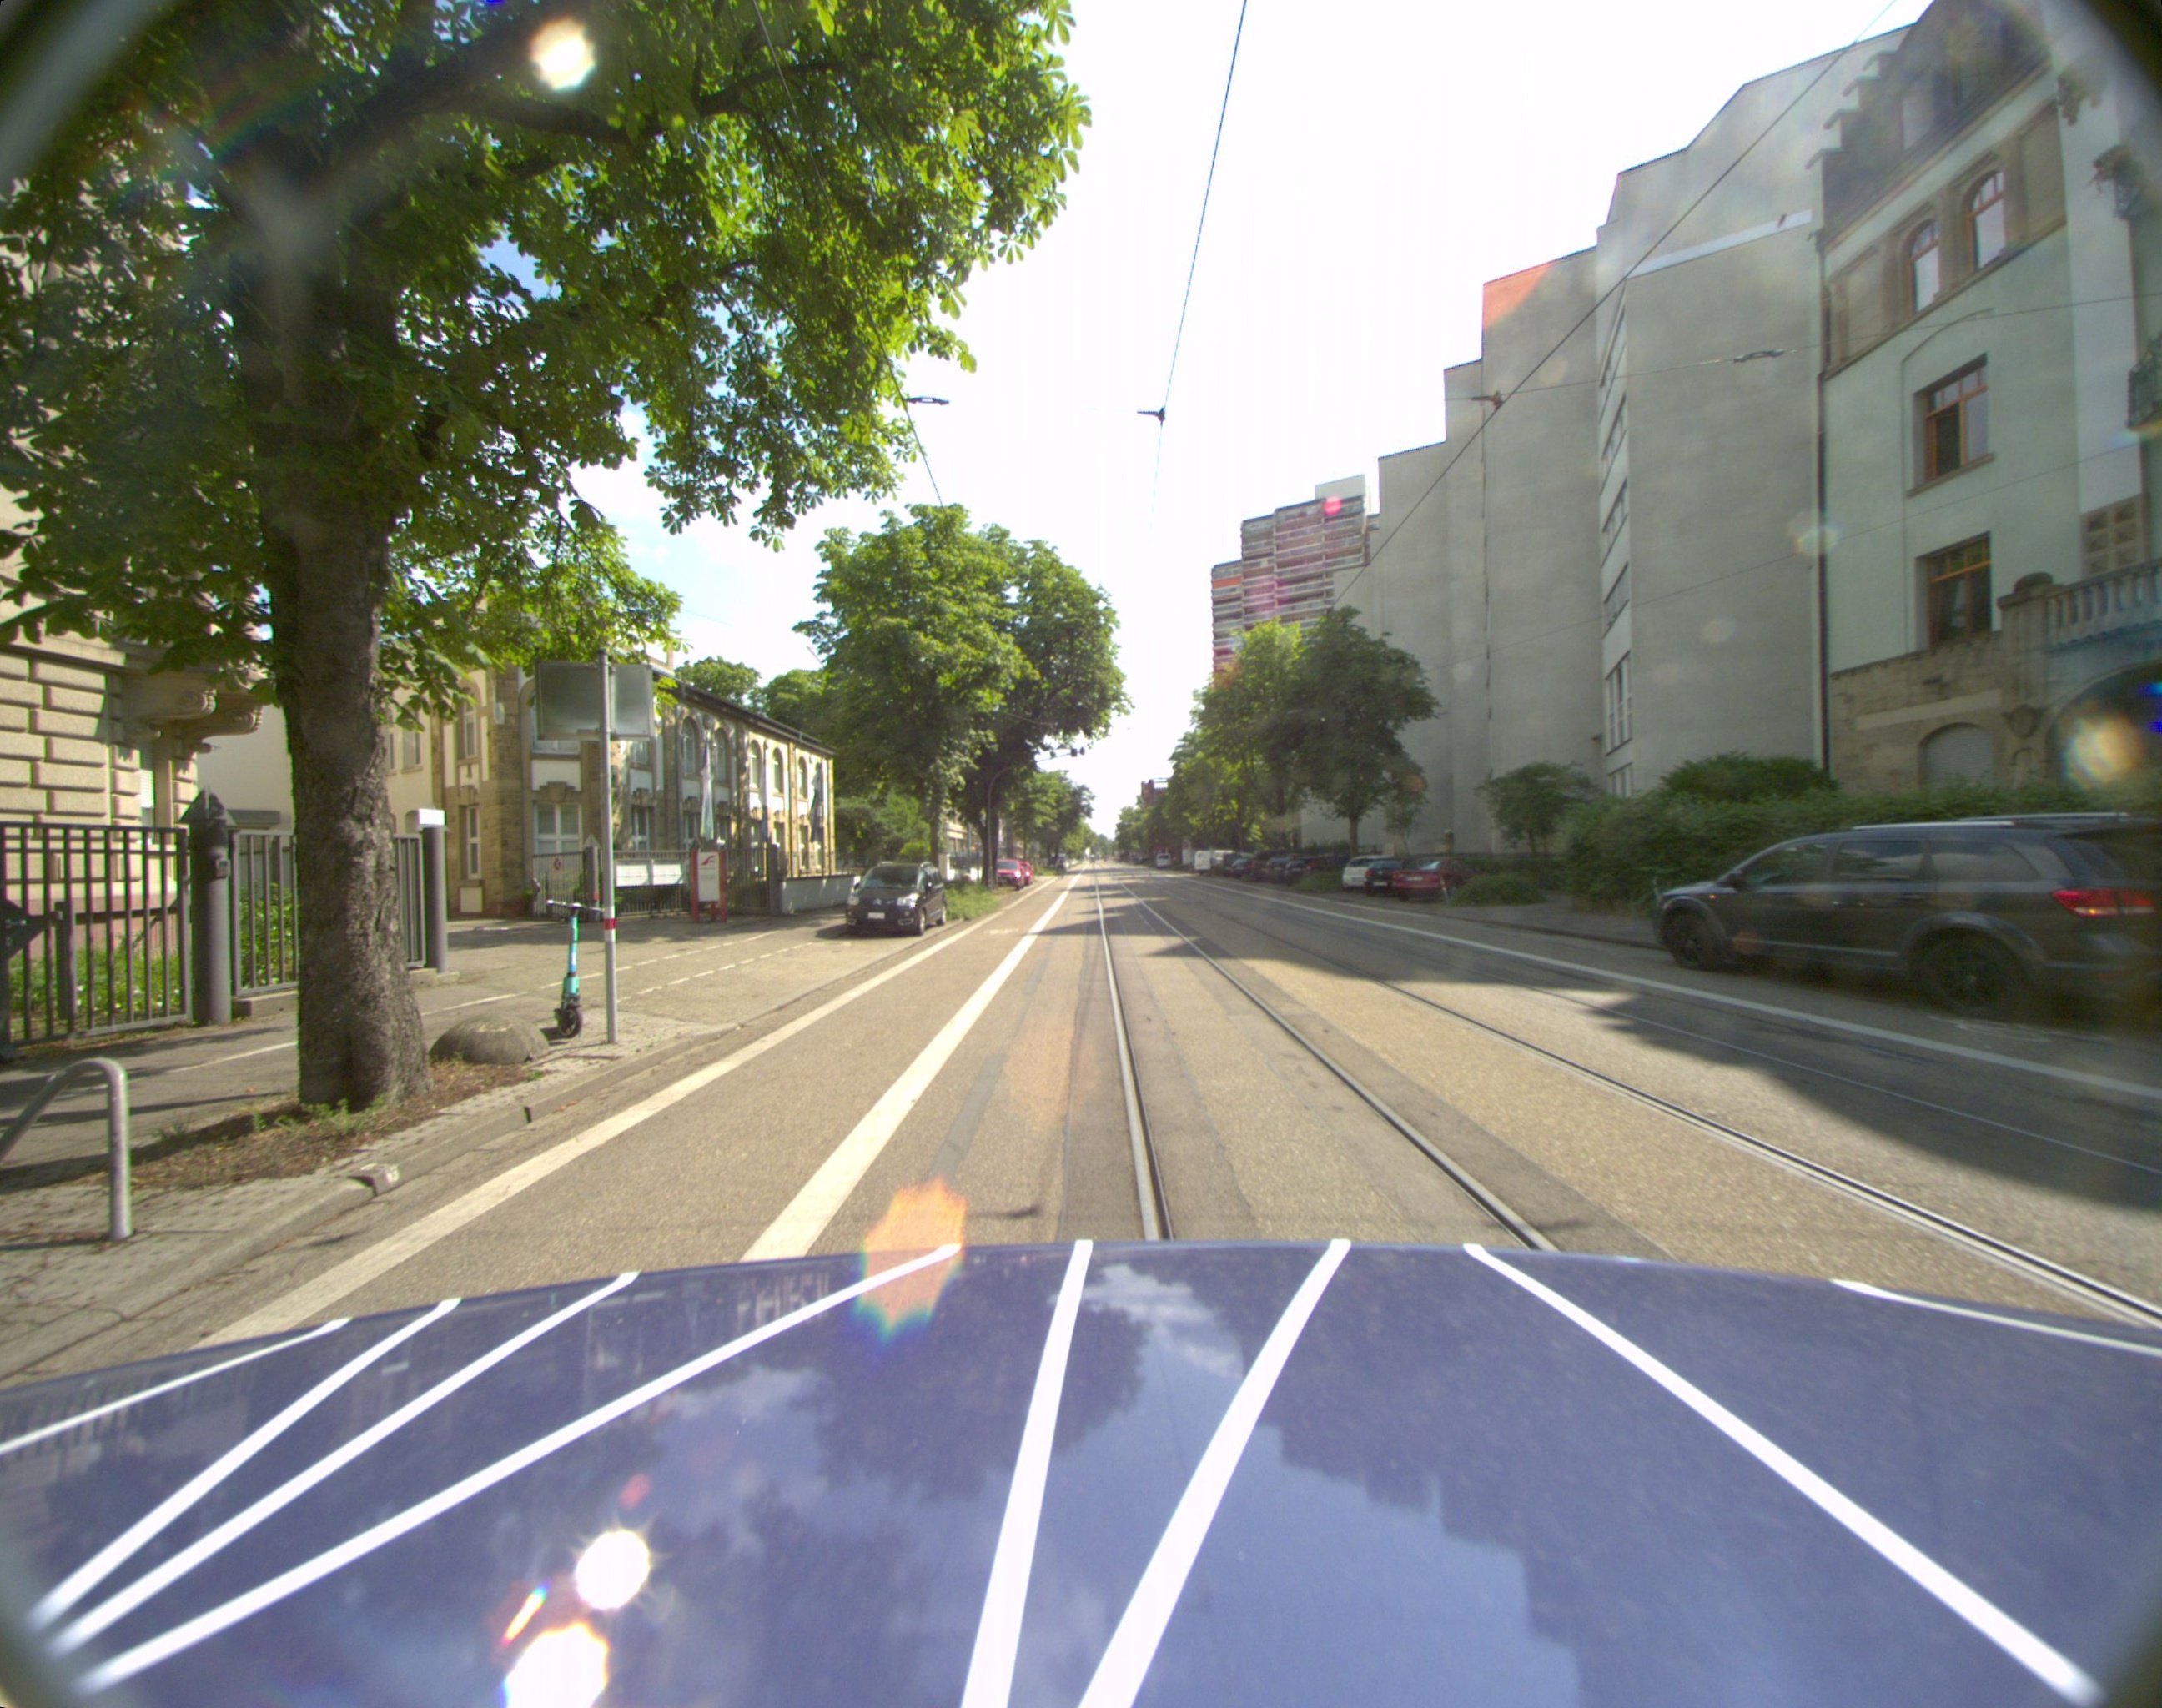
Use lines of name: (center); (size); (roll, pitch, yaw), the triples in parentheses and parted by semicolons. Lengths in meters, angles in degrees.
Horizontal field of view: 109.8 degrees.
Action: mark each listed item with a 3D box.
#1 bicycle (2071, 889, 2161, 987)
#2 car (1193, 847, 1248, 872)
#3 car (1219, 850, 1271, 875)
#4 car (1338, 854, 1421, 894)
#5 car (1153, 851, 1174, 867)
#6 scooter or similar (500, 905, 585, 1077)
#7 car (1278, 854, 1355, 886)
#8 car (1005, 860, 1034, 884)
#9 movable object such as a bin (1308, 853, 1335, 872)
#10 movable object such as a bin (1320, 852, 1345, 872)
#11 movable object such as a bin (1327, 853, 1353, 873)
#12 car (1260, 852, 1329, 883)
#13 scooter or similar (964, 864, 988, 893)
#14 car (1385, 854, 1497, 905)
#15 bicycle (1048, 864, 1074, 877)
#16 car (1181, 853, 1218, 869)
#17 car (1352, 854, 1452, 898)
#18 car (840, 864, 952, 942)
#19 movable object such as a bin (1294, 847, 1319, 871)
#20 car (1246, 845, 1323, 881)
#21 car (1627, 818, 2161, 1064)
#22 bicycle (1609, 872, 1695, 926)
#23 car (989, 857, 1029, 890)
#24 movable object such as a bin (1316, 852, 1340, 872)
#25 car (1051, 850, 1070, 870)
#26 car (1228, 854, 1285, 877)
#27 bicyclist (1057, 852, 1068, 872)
bicycle: (11.120, 0.868, 7.439); (0.383, 0.953, 1.921); (-3, 0, 3)
car: (11.625, 0.430, 63.090); (4.695, 1.985, 1.963); (-1, 0, -41)
car: (11.559, 0.615, 53.435); (3.723, 1.683, 1.755); (1, 0, -43)
car: (12.104, 0.778, 30.690); (3.816, 1.475, 1.692); (1, 0, -44)
car: (10.497, 0.568, 96.545); (1.892, 1.840, 4.235); (-4, 0, -3)
scooter or similar: (-4.618, 1.113, 6.566); (0.443, 1.291, 1.179); (2, -2, -30)
car: (11.581, 0.783, 37.287); (4.009, 1.475, 1.736); (1, 0, -41)
car: (-3.925, 1.127, 48.833); (1.604, 1.420, 3.595); (2, 1, -2)
movable object such as a bin: (17.526, 0.600, 55.426); (1.391, 1.356, 1.538); (2, 1, -3)
movable object such as a bin: (17.192, 0.533, 51.924); (1.167, 1.320, 1.441); (2, 1, 0)
movable object such as a bin: (17.188, 0.578, 50.453); (1.171, 1.276, 1.441); (2, 1, 0)
car: (11.444, 0.714, 40.595); (4.009, 1.583, 1.736); (1, 0, -43)
scooter or similar: (-4.542, 1.037, 32.938); (0.341, 1.230, 1.262); (2, 1, 25)
car: (11.580, 0.788, 24.326); (3.979, 1.475, 1.841); (1, 0, -42)
bicycle: (-1.629, 1.310, 61.503); (1.995, 1.034, 0.658); (0, 1, 24)
car: (11.996, 0.697, 77.008); (1.737, 1.514, 3.893); (-1, 0, 45)
car: (11.658, 0.772, 27.509); (3.815, 1.475, 1.693); (1, 0, -39)
car: (-4.317, 1.081, 18.362); (1.701, 1.582, 4.202); (0, 1, 0)
movable object such as a bin: (17.467, 0.403, 58.831); (1.391, 1.771, 1.538); (2, 1, -3)
car: (11.840, 0.531, 43.951); (1.911, 1.943, 5.180); (1, 0, 45)
car: (8.365, 0.614, 7.876); (1.789, 1.752, 4.882); (-1, 0, -2)
bicycle: (11.331, 0.866, 15.140); (0.383, 0.953, 1.810); (-3, 0, 3)
car: (-3.850, 0.992, 41.258); (1.881, 1.666, 4.281); (0, 0, -1)
movable object such as a bin: (17.495, 0.577, 53.828); (1.196, 1.372, 1.441); (2, 1, -2)
car: (-2.792, 0.747, 104.880); (2.337, 2.545, 5.389); (-4, 1, 0)
car: (11.612, 0.761, 50.107); (1.755, 1.409, 4.009); (1, 0, 45)
bicyclist: (-1.491, 0.649, 61.428); (0.740, 1.567, 0.644); (0, 1, 24)
